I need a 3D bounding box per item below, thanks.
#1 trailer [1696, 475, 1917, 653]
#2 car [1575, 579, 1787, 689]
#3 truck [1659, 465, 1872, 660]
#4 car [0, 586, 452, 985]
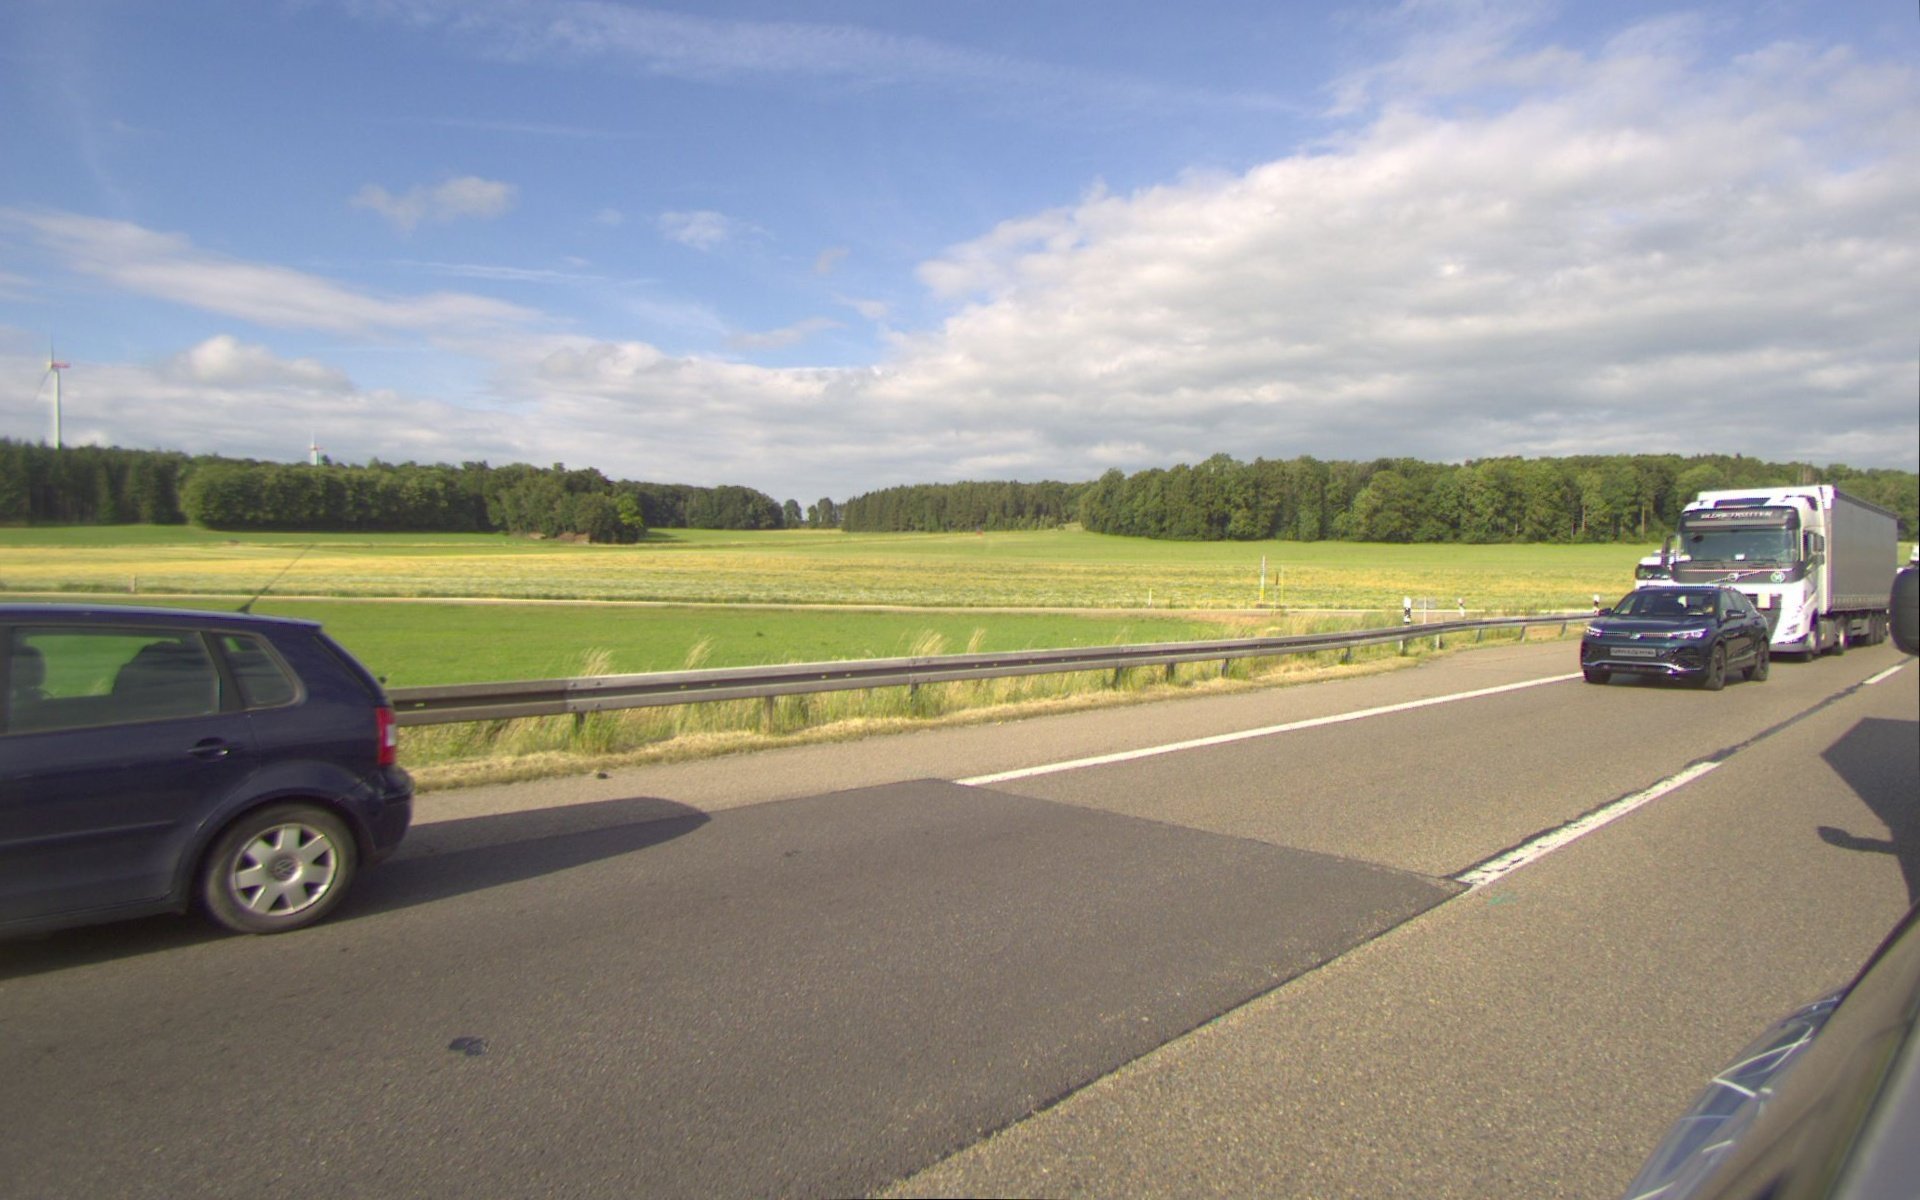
[{"bbox_3d":[23.681,-0.887,27.943,11.916,4.032,2.824,-1,0,-41],"label":"trailer"},{"bbox_3d":[12.130,0.467,16.937,4.047,1.616,1.997,-1,1,-41],"label":"car"},{"bbox_3d":[19.339,-0.824,24.168,6.387,4.040,2.840,-1,0,-41],"label":"truck"},{"bbox_3d":[-4.327,0.682,4.150,3.710,1.464,1.712,-1,1,-42],"label":"car"}]
